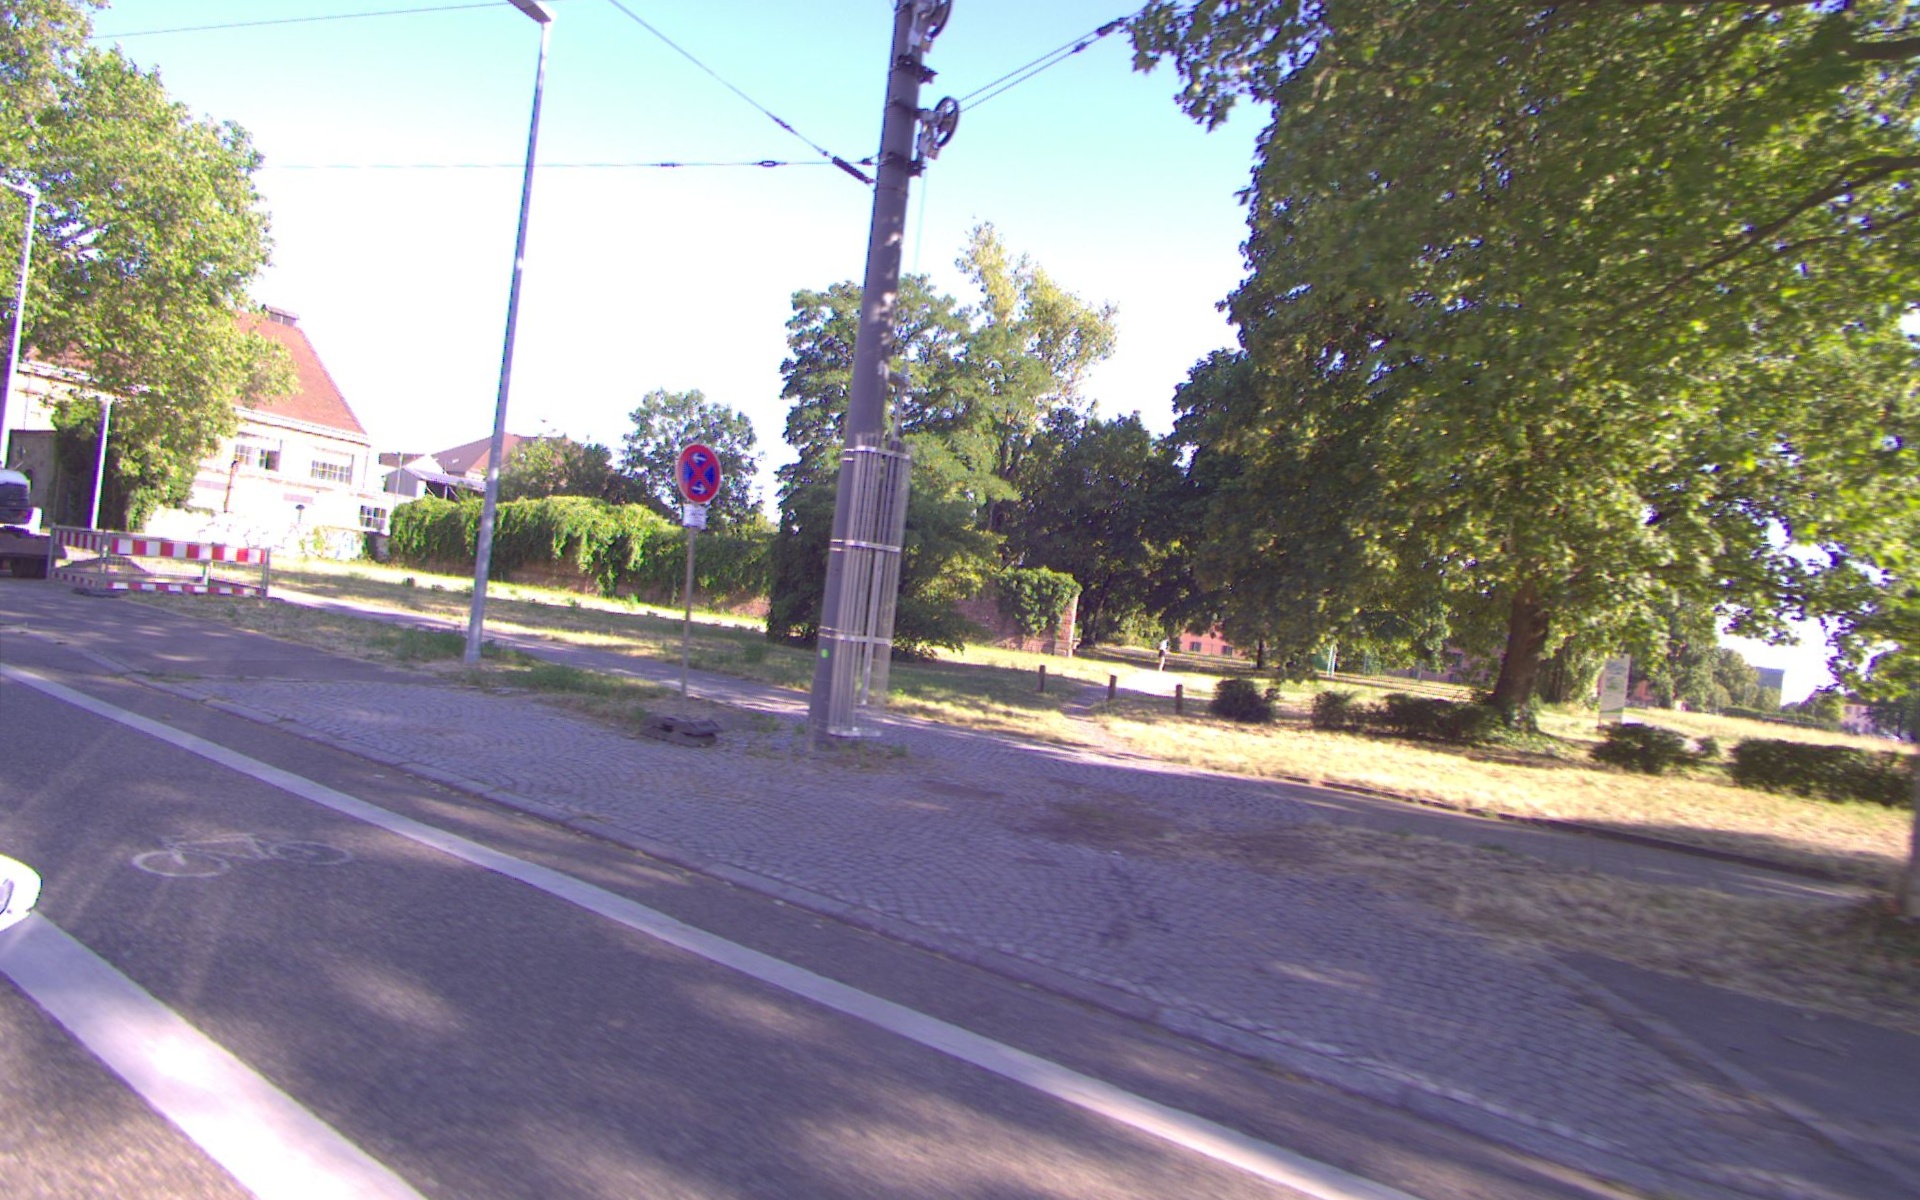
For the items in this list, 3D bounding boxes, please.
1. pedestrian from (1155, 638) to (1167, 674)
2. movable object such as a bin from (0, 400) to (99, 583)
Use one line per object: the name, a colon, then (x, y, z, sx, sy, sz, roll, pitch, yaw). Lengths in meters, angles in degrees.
pedestrian: (8.381, 2.337, 41.944, 0.340, 1.437, 0.578, 7, 1, 10)
movable object such as a bin: (-19.972, -2.298, 19.729, 7.101, 3.188, 2.743, 7, 3, 33)
